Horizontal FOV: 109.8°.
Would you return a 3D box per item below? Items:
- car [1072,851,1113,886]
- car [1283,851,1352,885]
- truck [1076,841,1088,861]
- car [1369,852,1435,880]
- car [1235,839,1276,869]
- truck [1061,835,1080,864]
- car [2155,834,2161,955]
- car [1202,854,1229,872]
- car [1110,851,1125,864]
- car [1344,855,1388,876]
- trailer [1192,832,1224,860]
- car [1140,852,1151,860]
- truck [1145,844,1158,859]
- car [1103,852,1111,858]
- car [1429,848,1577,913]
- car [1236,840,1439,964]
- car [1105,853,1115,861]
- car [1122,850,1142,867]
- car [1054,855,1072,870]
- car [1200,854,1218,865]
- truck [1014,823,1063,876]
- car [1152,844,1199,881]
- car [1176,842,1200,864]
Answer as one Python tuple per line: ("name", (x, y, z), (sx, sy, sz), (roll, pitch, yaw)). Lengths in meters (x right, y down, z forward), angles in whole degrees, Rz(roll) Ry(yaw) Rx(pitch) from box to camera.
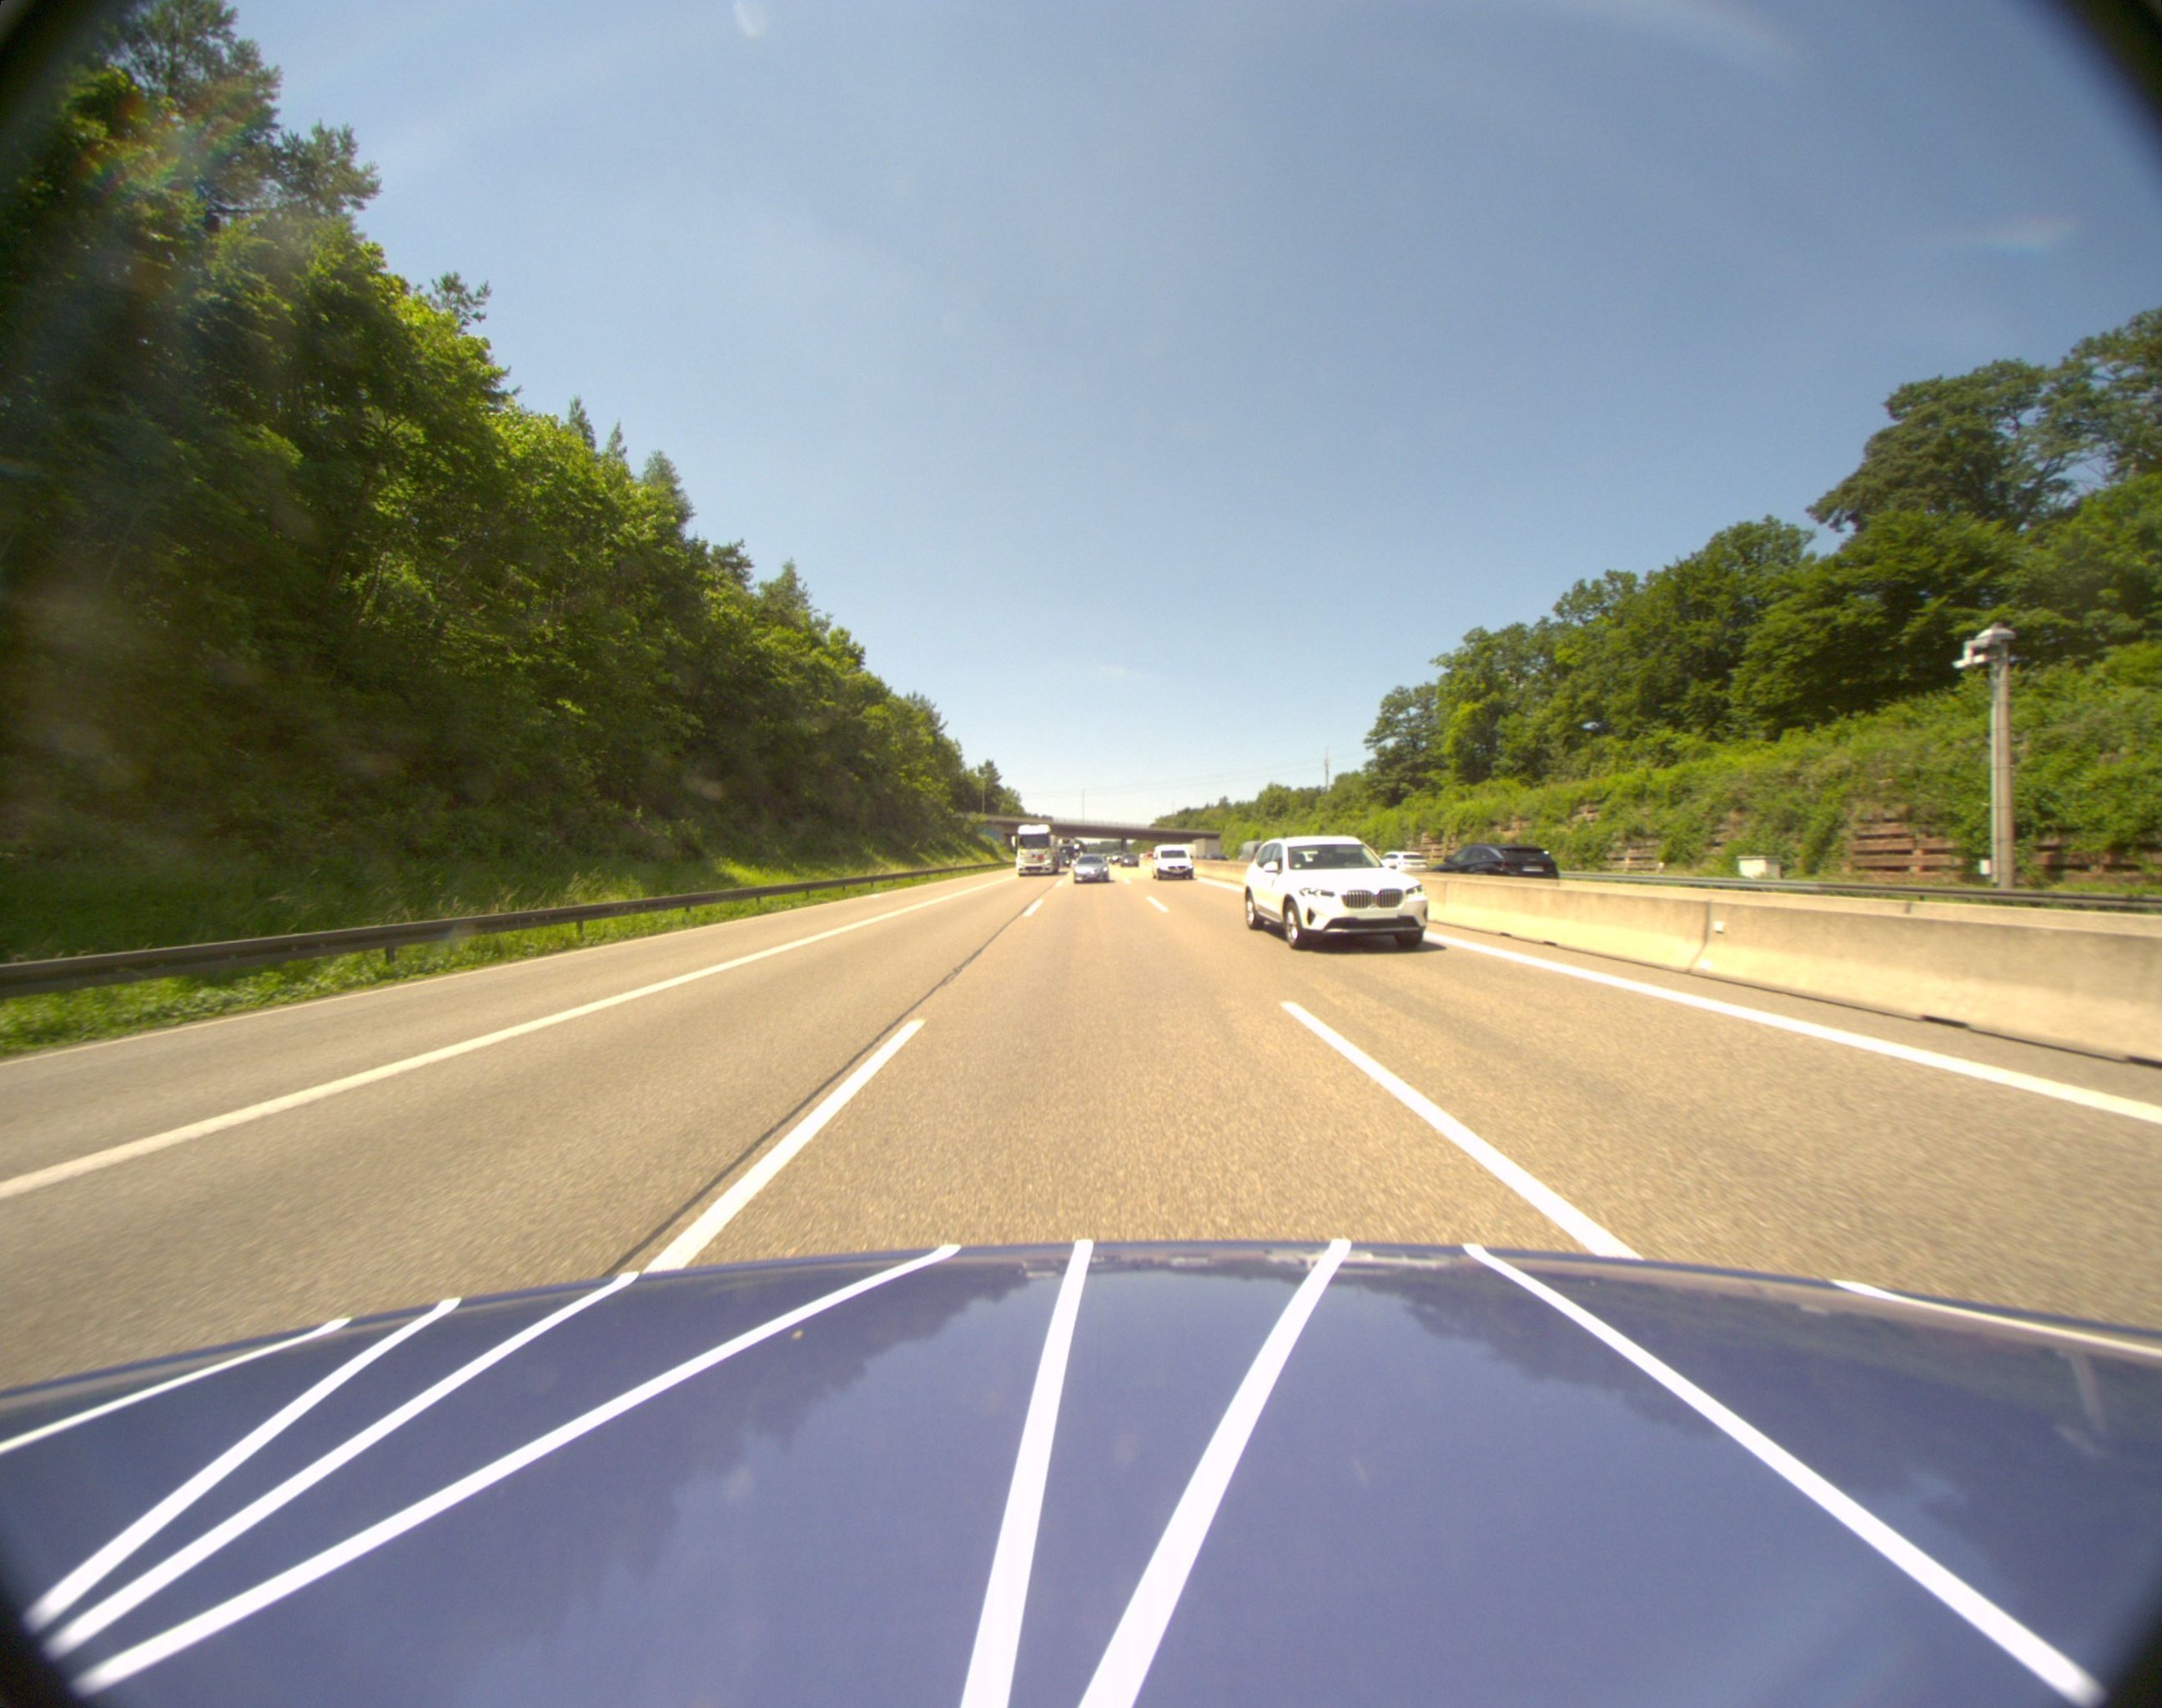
("car", (0.636, 0.683, 37.598), (1.843, 1.518, 4.501), (-2, 1, 2))
("car", (12.077, 0.670, 39.160), (1.944, 1.595, 5.226), (1, 0, 0))
("truck", (0.248, -0.674, 177.205), (2.627, 4.365, 13.085), (-2, 1, 0))
("car", (19.146, 0.665, 45.614), (1.944, 1.595, 4.860), (1, 0, 0))
("car", (16.095, -0.034, 70.472), (2.245, 2.667, 7.137), (1, 0, 0))
("truck", (-1.653, -0.740, 124.427), (2.627, 4.365, 13.085), (-2, 1, 0))
("car", (15.379, 0.567, 7.383), (1.887, 1.628, 5.649), (1, 0, 0))
("car", (12.345, 0.820, 69.871), (1.736, 1.595, 4.281), (1, 0, 0))
("car", (4.663, 0.413, 97.734), (1.770, 1.504, 3.999), (-2, 1, 0))
("car", (22.950, 0.894, 61.358), (1.944, 1.595, 4.464), (1, 0, 0))
("trailer", (20.656, -1.293, 124.419), (2.942, 4.162, 14.183), (-2, 1, 0))
("car", (14.005, 0.372, 165.264), (1.944, 1.616, 4.281), (1, 0, 0))
("truck", (21.983, -0.898, 237.788), (2.627, 4.365, 13.085), (-2, 1, 0))
("car", (6.956, 0.325, 201.478), (1.944, 1.616, 4.281), (1, 0, 0))
("car", (11.646, 0.669, 21.344), (1.757, 1.628, 4.303), (1, 0, 0))
("car", (3.904, 0.638, 12.443), (1.850, 1.634, 4.368), (-2, 0, 0))
("car", (5.603, 0.608, 147.960), (1.770, 1.504, 3.999), (-2, 1, 0))
("car", (5.229, 0.440, 78.144), (1.770, 1.504, 4.725), (-2, 1, 0))
("car", (-1.963, 0.920, 84.772), (1.770, 1.504, 3.999), (-2, 1, 0))
("car", (16.793, 0.723, 99.739), (1.646, 1.280, 4.104), (1, 0, 0))
("truck", (-3.088, -0.392, 58.939), (2.844, 3.518, 13.085), (-2, 1, 0))
("car", (4.929, 0.379, 40.142), (1.998, 1.764, 4.501), (-2, 1, 2))
("car", (13.213, -0.123, 93.790), (2.245, 2.667, 5.341), (1, 0, 0))
